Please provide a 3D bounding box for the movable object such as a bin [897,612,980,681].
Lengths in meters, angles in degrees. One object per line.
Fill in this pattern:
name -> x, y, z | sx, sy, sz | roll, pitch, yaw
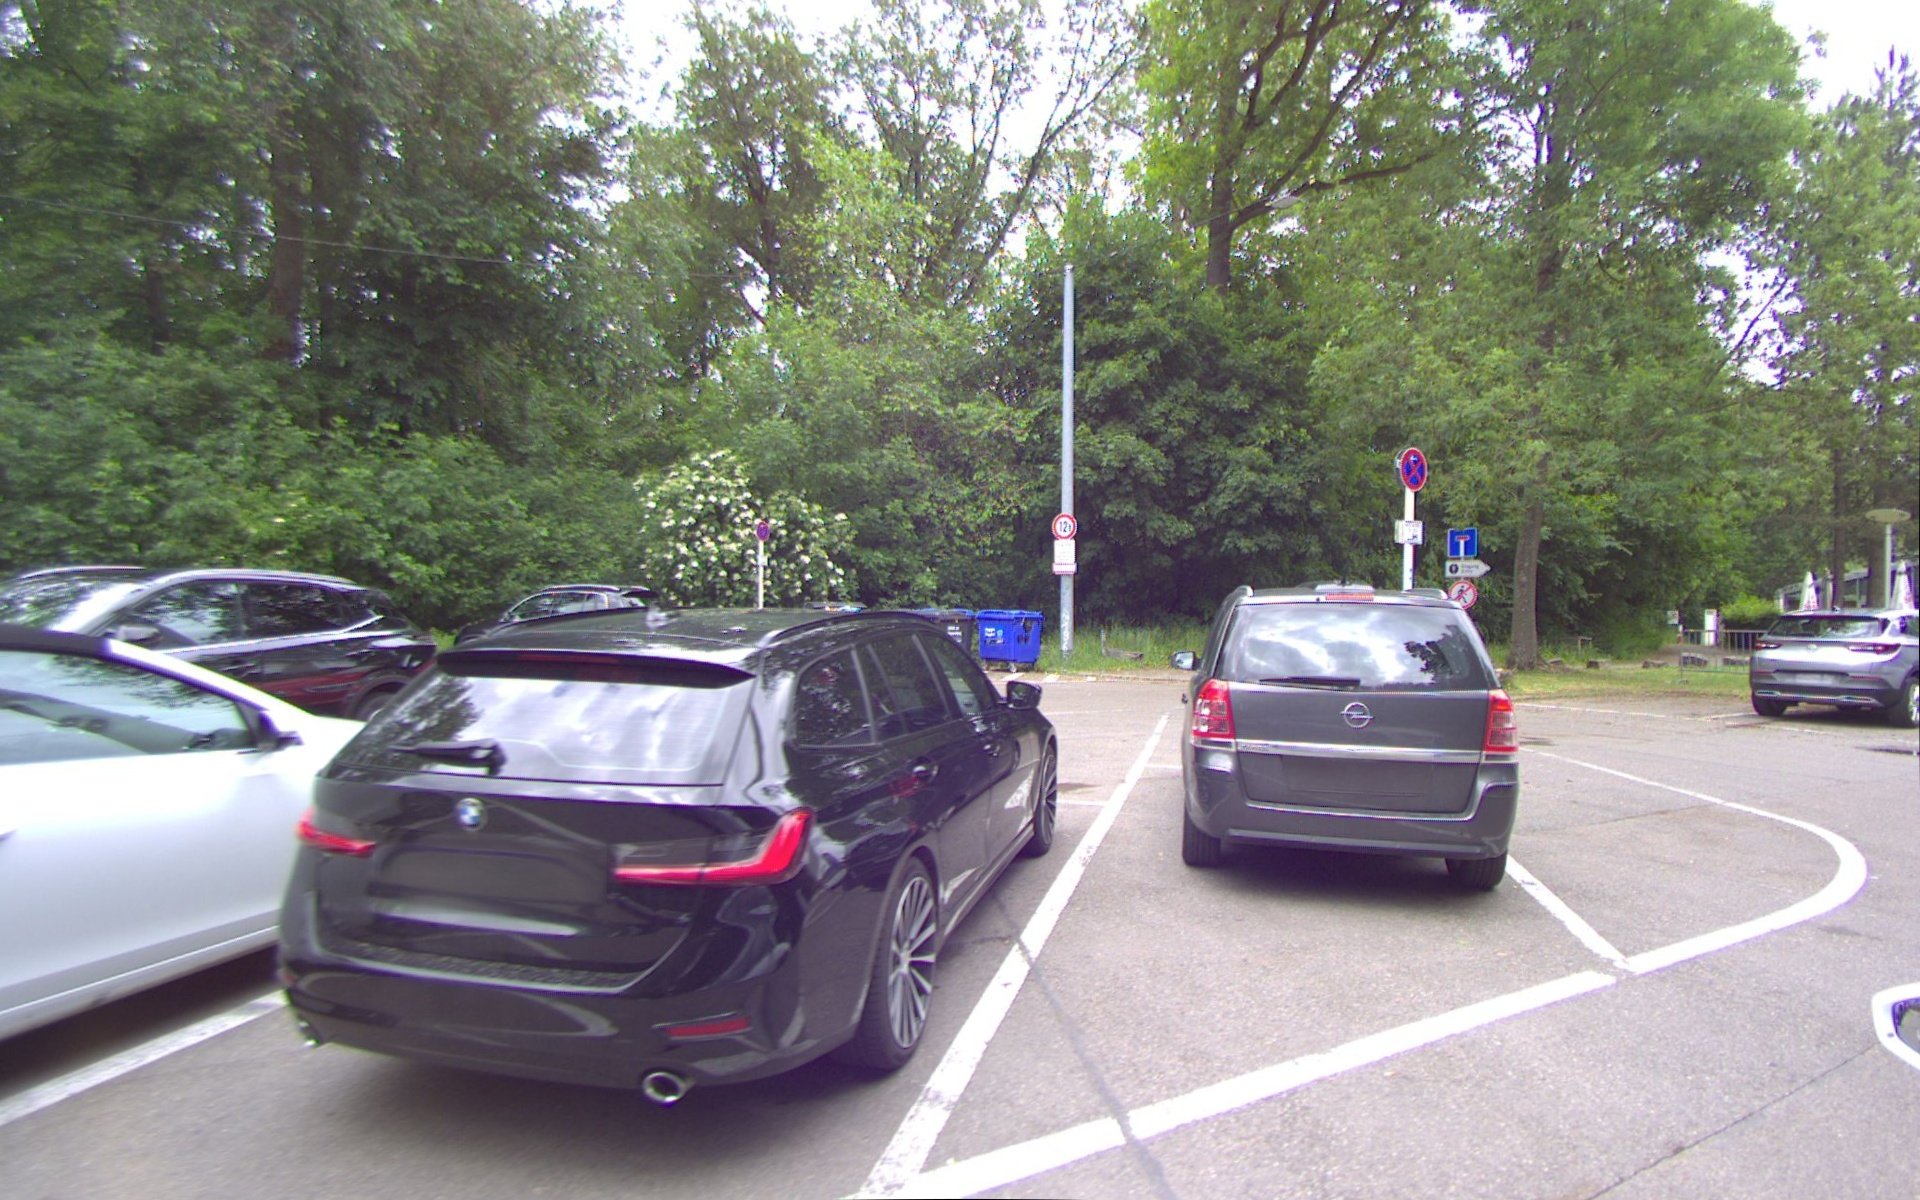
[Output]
movable object such as a bin -> -0.419, 0.923, 20.379 | 1.152, 1.324, 1.310 | 0, -1, 31

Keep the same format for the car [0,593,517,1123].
car -> -3.456, 0.706, 3.113 | 1.737, 1.462, 3.847 | 1, 0, 16

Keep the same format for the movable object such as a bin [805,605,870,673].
movable object such as a bin -> -2.700, 0.835, 22.012 | 1.115, 1.444, 1.120 | 1, 0, -26

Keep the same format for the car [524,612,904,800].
car -> -2.102, 0.846, 10.027 | 1.733, 1.412, 4.394 | 1, -1, 16

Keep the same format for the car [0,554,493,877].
car -> -5.497, 0.605, 7.119 | 1.860, 1.685, 4.002 | 1, 0, 14

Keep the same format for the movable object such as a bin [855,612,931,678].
movable object such as a bin -> -1.402, 0.918, 21.031 | 1.107, 1.332, 1.182 | 0, 0, 31

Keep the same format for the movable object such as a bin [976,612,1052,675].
movable object such as a bin -> 1.185, 0.940, 22.175 | 1.138, 1.342, 1.242 | 1, -1, -42

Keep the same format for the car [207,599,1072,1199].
car -> -0.642, 0.760, 4.537 | 1.724, 1.462, 4.281 | 1, 0, 14

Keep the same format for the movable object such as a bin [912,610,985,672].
movable object such as a bin -> -0.255, 0.903, 22.584 | 1.227, 1.337, 1.116 | 1, 0, -34

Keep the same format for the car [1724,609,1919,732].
car -> 13.476, 0.956, 14.959 | 3.950, 1.606, 1.885 | 1, 0, -28

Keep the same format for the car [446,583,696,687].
car -> -7.047, 0.592, 18.272 | 3.990, 1.707, 1.785 | 1, 0, 17

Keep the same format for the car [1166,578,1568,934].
car -> 2.464, 0.734, 6.976 | 1.792, 1.630, 4.390 | 1, 0, 14
